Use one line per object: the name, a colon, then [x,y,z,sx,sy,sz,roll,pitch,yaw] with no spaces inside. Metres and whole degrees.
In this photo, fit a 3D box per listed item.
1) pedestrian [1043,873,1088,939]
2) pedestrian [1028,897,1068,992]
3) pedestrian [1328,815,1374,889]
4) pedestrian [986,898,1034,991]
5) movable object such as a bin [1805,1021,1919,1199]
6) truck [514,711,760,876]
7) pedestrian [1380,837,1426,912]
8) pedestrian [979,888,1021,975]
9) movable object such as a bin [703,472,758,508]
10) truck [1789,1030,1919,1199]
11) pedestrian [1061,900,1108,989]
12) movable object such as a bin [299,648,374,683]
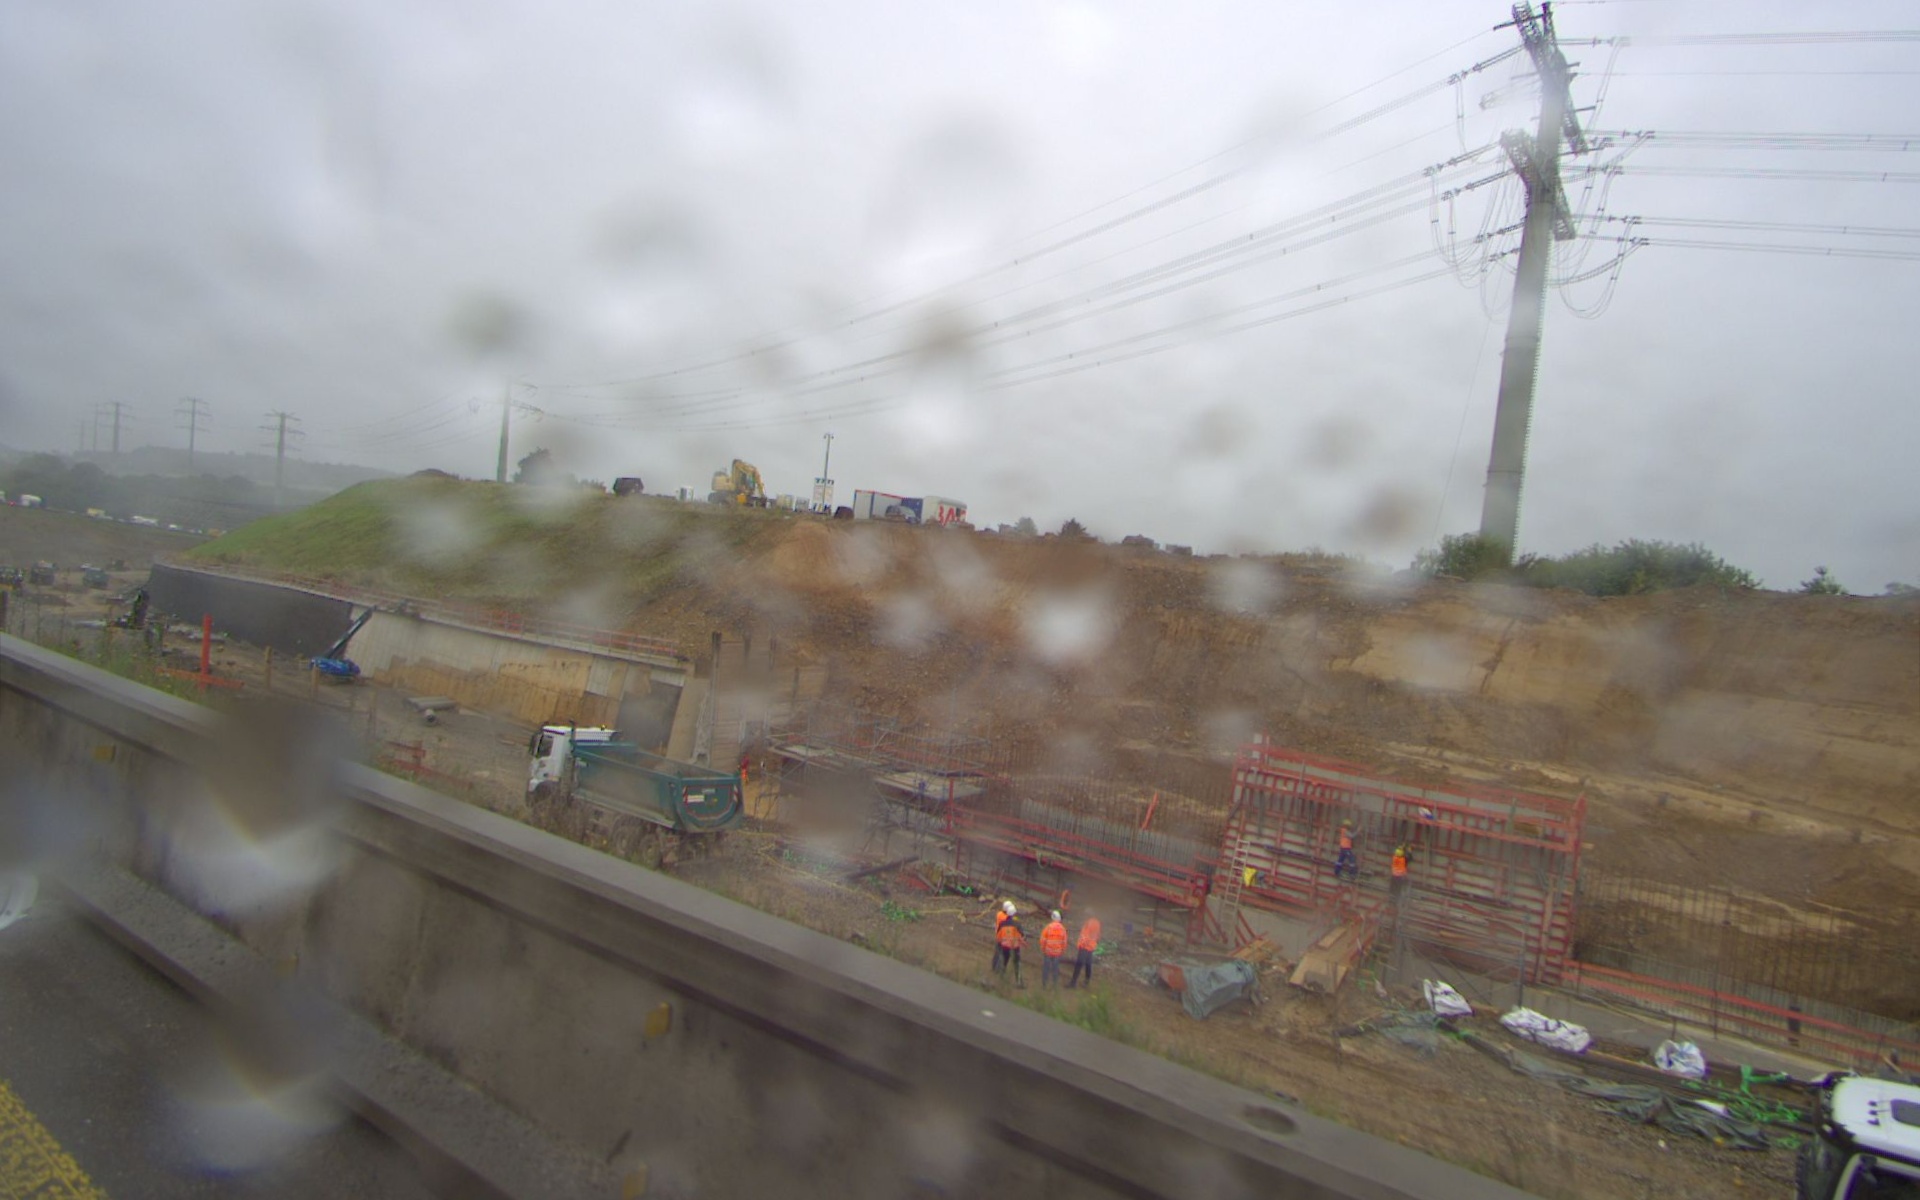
pedestrian: [3.635,10.507,34.549,0.891,2.013,0.901,6,-11,35]
pedestrian: [2.081,8.159,23.871,0.721,1.967,0.575,7,0,4]
pedestrian: [12.164,7.832,31.261,0.885,2.013,0.908,6,-11,36]
pedestrian: [1.181,8.141,23.835,0.724,1.892,0.573,7,0,38]
movable object such as a bin: [14.716,8.407,14.717,2.919,2.770,3.155,6,-1,32]
truck: [-10.876,6.092,33.246,8.926,3.532,2.731,6,-1,36]
pedestrian: [13.368,8.275,30.328,0.885,2.013,0.908,6,-11,36]
pedestrian: [0.985,8.146,24.759,0.567,1.892,0.731,7,0,-22]
movable object such as a bin: [-19.650,-9.423,86.181,3.910,2.473,2.428,9,0,39]
truck: [13.766,7.819,9.731,8.830,3.545,2.695,6,-2,44]
pedestrian: [3.008,8.290,24.249,0.725,1.967,0.573,7,0,-20]
movable object such as a bin: [-43.825,4.608,70.803,3.772,2.036,2.001,6,-3,-5]
